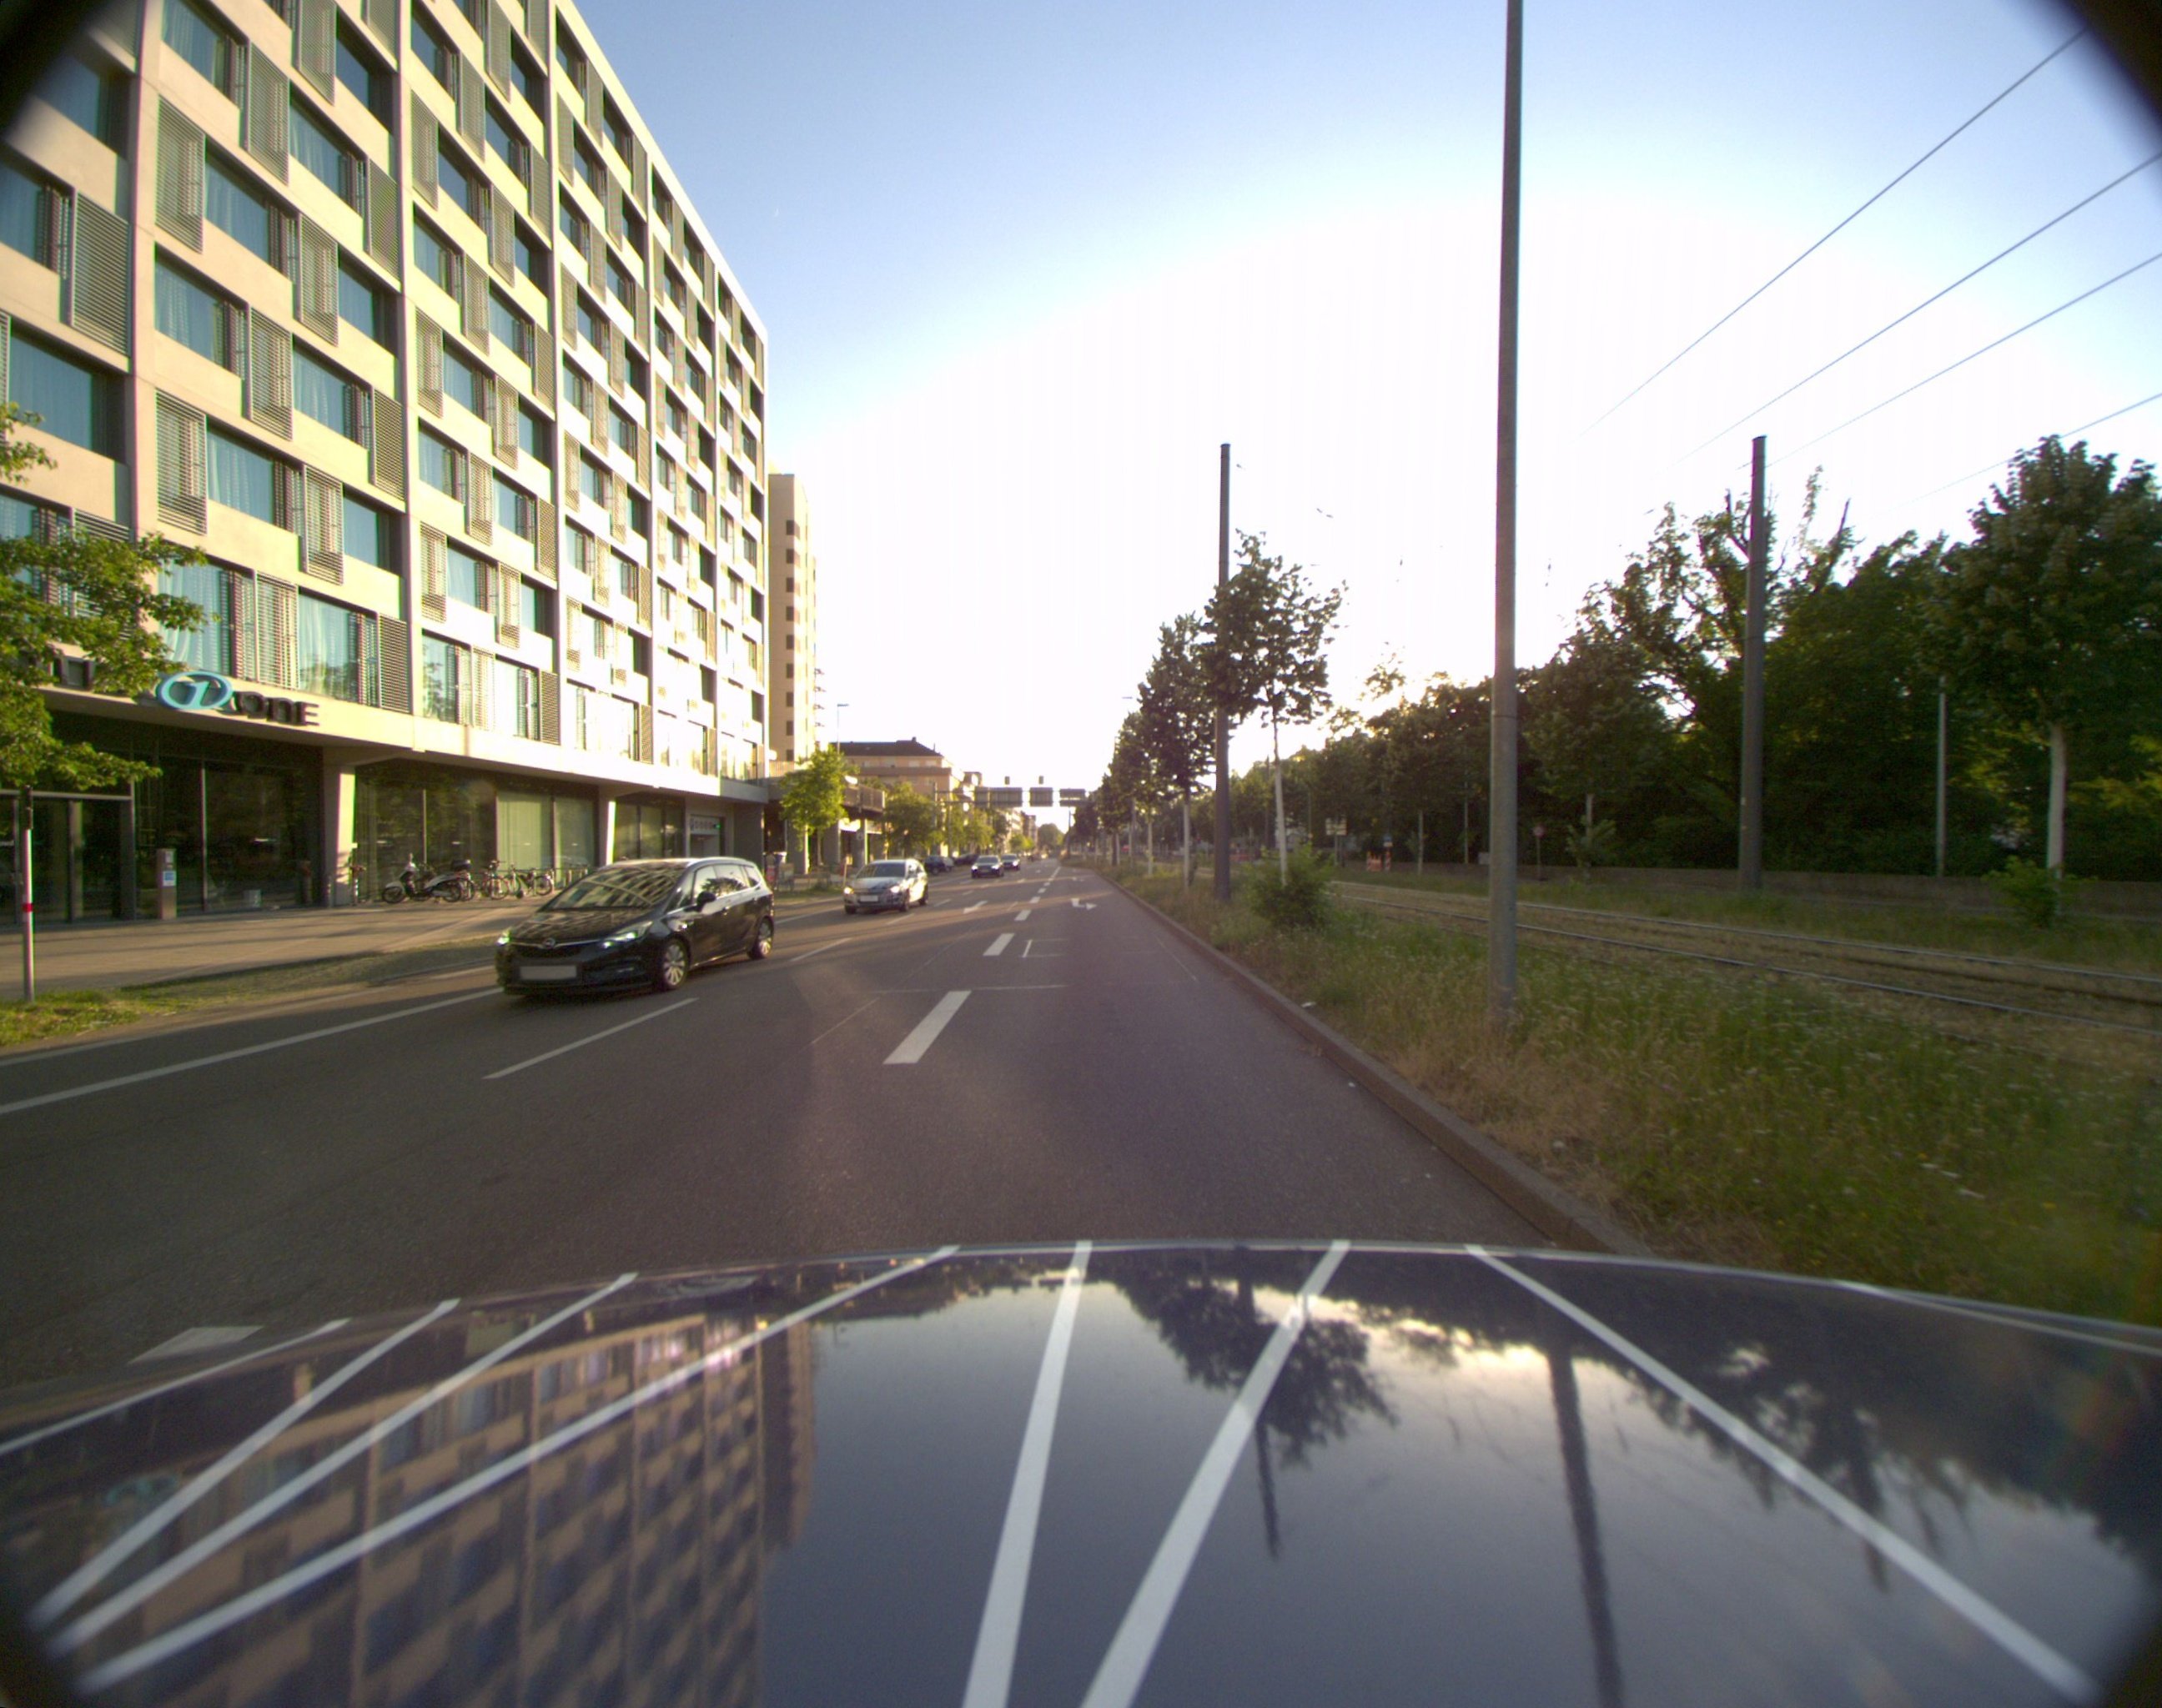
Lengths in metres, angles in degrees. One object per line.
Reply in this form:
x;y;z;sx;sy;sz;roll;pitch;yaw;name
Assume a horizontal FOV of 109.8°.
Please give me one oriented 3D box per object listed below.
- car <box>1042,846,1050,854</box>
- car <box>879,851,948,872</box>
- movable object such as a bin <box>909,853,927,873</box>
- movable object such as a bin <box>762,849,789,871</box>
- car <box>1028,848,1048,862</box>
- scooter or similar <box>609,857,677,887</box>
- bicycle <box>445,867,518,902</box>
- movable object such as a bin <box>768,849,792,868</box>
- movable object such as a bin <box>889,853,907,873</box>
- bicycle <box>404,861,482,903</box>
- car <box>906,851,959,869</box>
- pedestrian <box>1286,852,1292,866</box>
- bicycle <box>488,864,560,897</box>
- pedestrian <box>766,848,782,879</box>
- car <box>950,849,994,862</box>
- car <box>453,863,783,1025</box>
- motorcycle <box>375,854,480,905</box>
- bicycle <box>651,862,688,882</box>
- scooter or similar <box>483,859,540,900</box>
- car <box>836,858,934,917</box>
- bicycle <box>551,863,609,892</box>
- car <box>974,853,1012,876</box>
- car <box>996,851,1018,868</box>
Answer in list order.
-8.886;-1.095;193.422;1.727;1.910;4.292;-2;0;-5;car
-12.537;0.573;56.942;4.679;1.500;1.933;2;1;-40;car
-11.207;0.604;52.367;1.088;1.294;1.360;2;1;-7;movable object such as a bin
-18.929;0.353;47.129;1.108;1.322;1.282;2;1;-2;movable object such as a bin
-5.763;0.092;102.756;1.965;1.696;5.103;-2;0;6;car
-17.954;0.742;31.189;2.378;1.176;0.620;1;1;-2;scooter or similar
-18.132;0.914;23.016;1.704;0.980;0.550;2;1;-4;bicycle
-20.354;0.312;51.411;1.185;1.291;1.304;0;1;-2;movable object such as a bin
-12.568;0.590;52.256;1.017;1.339;1.160;2;0;-6;movable object such as a bin
-18.510;0.815;22.062;1.612;1.148;0.611;2;1;-13;bicycle
-12.430;0.534;63.646;3.999;1.408;1.746;2;1;-39;car
24.288;0.599;88.755;0.670;1.597;0.678;-2;-3;13;pedestrian
-18.295;0.865;24.960;1.890;1.004;0.565;2;1;-3;bicycle
-16.164;0.490;40.004;0.578;1.609;0.643;2;1;-4;pedestrian
-12.245;0.176;85.689;4.617;1.445;1.808;1;0;-42;car
-5.801;0.986;10.311;1.828;1.589;4.366;-2;0;-1;car
-18.240;0.718;21.242;2.120;1.378;0.671;1;0;-15;motorcycle
-18.542;0.796;34.239;1.425;0.886;0.457;0;1;-2;bicycle
-17.727;0.792;23.659;1.271;1.226;0.608;2;1;-5;scooter or similar
-5.675;0.912;22.527;1.833;1.455;4.302;-2;0;-2;car
-18.250;0.845;27.711;1.704;0.980;0.550;2;1;-4;bicycle
-5.692;0.648;49.706;1.915;1.387;4.276;-2;0;1;car
-6.537;0.486;67.346;1.863;1.387;4.274;-2;0;-5;car
